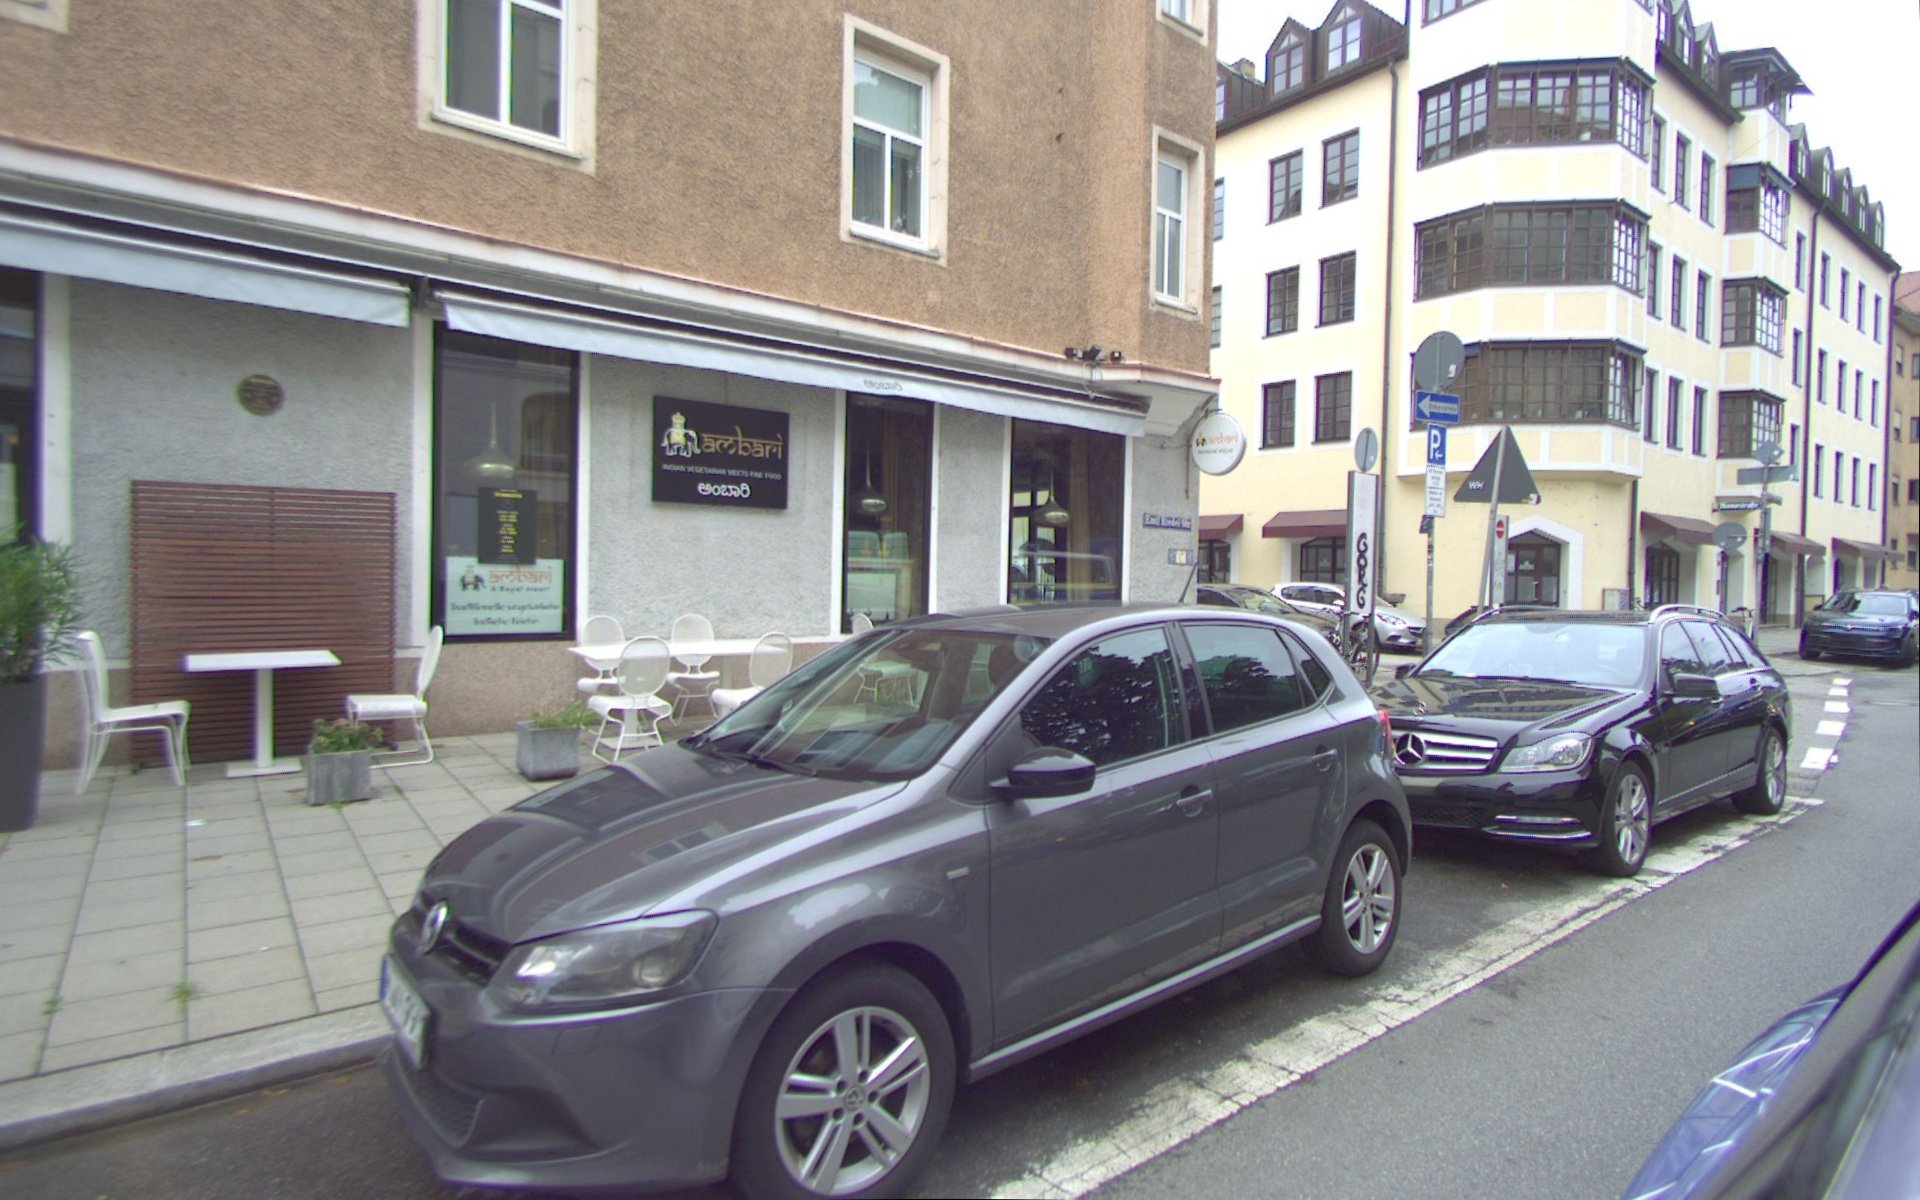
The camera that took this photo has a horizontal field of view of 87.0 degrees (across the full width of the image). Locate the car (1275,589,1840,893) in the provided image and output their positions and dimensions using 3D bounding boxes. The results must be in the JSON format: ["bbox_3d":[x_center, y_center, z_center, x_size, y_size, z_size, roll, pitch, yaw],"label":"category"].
[{"bbox_3d":[4.361,0.648,7.031,4.701,1.422,1.851,0,1,-39],"label":"car"}]

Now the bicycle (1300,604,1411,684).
[{"bbox_3d":[5.442,0.590,13.892,1.769,1.017,0.497,1,2,-36],"label":"bicycle"}]

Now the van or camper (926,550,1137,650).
[{"bbox_3d":[1.443,-0.114,22.383,1.925,1.942,4.915,-3,3,-36],"label":"van or camper"}]

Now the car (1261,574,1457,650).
[{"bbox_3d":[8.896,0.236,22.836,1.717,1.458,3.748,3,0,-34],"label":"car"}]

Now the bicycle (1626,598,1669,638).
[{"bbox_3d":[17.019,0.438,25.024,1.664,0.912,0.263,-1,6,-36],"label":"bicycle"}]

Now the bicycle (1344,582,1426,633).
[{"bbox_3d":[10.813,0.168,25.804,0.506,1.201,1.906,0,2,-37],"label":"bicycle"}]

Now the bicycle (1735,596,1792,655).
[{"bbox_3d":[17.092,0.522,21.526,2.015,1.173,0.431,-1,3,-37],"label":"bicycle"}]

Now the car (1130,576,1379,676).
[{"bbox_3d":[5.101,0.360,17.943,1.858,1.506,3.884,-1,2,-37],"label":"car"}]

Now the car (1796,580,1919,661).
[{"bbox_3d":[20.970,0.399,23.016,4.415,1.642,2.112,-1,2,-38],"label":"car"}]

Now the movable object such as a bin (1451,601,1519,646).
[{"bbox_3d":[11.515,0.502,22.225,0.671,0.911,1.126,-1,2,-37],"label":"movable object such as a bin"}]

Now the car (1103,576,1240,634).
[{"bbox_3d":[5.649,0.090,27.327,1.608,1.353,3.458,-1,3,-34],"label":"car"}]

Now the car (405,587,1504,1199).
[{"bbox_3d":[0.361,0.686,3.832,4.109,1.411,1.576,-1,2,-40],"label":"car"}]

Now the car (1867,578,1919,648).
[{"bbox_3d":[25.178,0.330,25.983,4.085,1.607,1.821,-1,6,-35],"label":"car"}]

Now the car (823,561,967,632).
[{"bbox_3d":[-1.794,-0.152,26.723,1.941,1.664,3.998,-1,3,-36],"label":"car"}]
